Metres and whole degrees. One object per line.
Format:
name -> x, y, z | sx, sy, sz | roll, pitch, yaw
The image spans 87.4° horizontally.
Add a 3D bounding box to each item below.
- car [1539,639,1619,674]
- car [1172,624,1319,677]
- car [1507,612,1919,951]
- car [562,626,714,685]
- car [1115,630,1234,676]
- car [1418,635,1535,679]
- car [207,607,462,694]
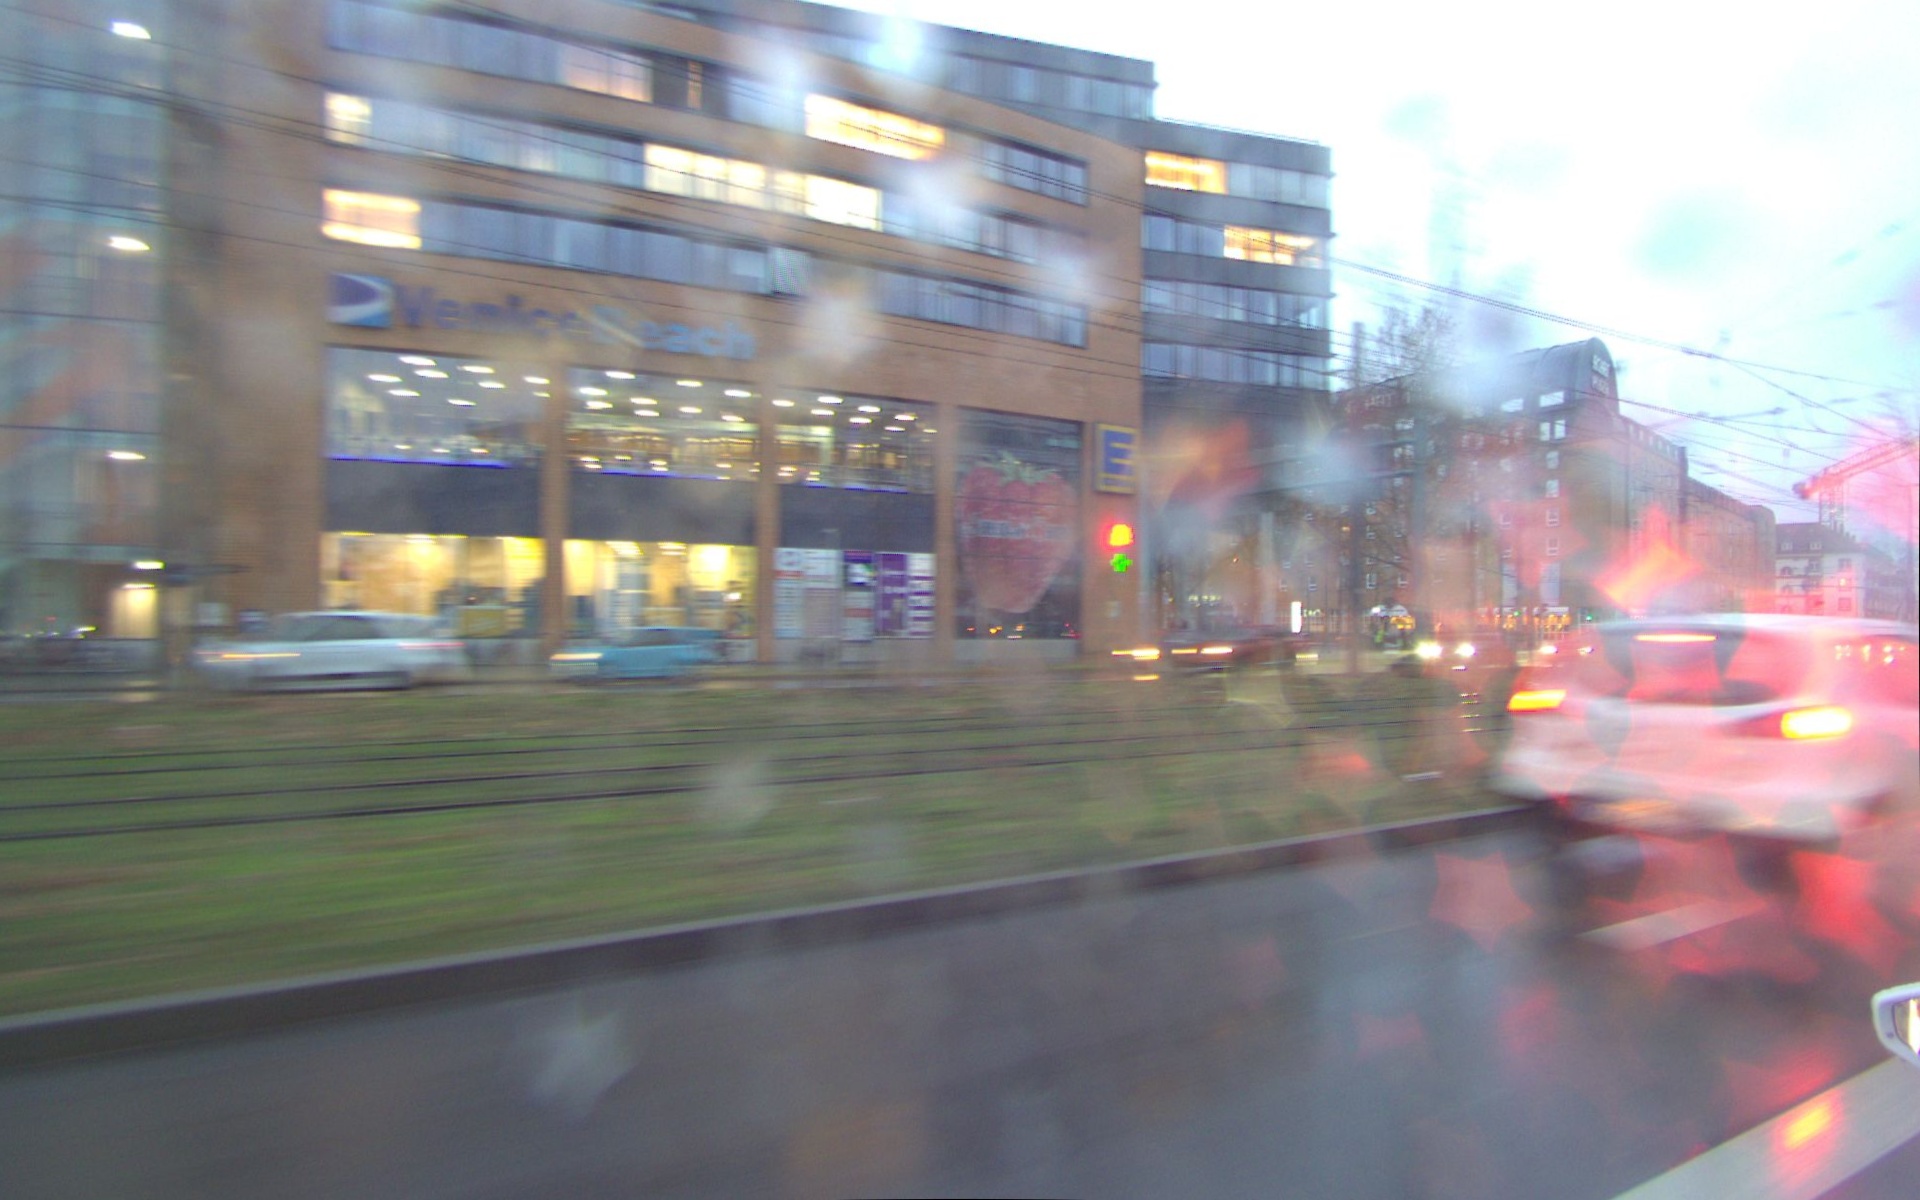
car -> 27.801, 2.518, 45.079 | 3.580, 1.469, 1.624 | 2, -1, -31
car -> 8.249, 1.430, 28.981 | 4.150, 1.411, 1.721 | 1, -1, -31
car -> 5.175, 0.844, 6.180 | 3.644, 1.516, 1.630 | 1, -1, -32
car -> -8.245, 1.397, 25.783 | 3.506, 1.420, 1.500 | 1, -1, -29
car -> 7.518, 1.820, 35.004 | 4.378, 1.469, 1.620 | 2, -1, -37
car -> 18.722, 2.035, 36.362 | 4.270, 1.469, 1.981 | 2, -1, -34
car -> -10.786, 0.876, 17.590 | 3.609, 1.391, 1.500 | 2, -2, -29
